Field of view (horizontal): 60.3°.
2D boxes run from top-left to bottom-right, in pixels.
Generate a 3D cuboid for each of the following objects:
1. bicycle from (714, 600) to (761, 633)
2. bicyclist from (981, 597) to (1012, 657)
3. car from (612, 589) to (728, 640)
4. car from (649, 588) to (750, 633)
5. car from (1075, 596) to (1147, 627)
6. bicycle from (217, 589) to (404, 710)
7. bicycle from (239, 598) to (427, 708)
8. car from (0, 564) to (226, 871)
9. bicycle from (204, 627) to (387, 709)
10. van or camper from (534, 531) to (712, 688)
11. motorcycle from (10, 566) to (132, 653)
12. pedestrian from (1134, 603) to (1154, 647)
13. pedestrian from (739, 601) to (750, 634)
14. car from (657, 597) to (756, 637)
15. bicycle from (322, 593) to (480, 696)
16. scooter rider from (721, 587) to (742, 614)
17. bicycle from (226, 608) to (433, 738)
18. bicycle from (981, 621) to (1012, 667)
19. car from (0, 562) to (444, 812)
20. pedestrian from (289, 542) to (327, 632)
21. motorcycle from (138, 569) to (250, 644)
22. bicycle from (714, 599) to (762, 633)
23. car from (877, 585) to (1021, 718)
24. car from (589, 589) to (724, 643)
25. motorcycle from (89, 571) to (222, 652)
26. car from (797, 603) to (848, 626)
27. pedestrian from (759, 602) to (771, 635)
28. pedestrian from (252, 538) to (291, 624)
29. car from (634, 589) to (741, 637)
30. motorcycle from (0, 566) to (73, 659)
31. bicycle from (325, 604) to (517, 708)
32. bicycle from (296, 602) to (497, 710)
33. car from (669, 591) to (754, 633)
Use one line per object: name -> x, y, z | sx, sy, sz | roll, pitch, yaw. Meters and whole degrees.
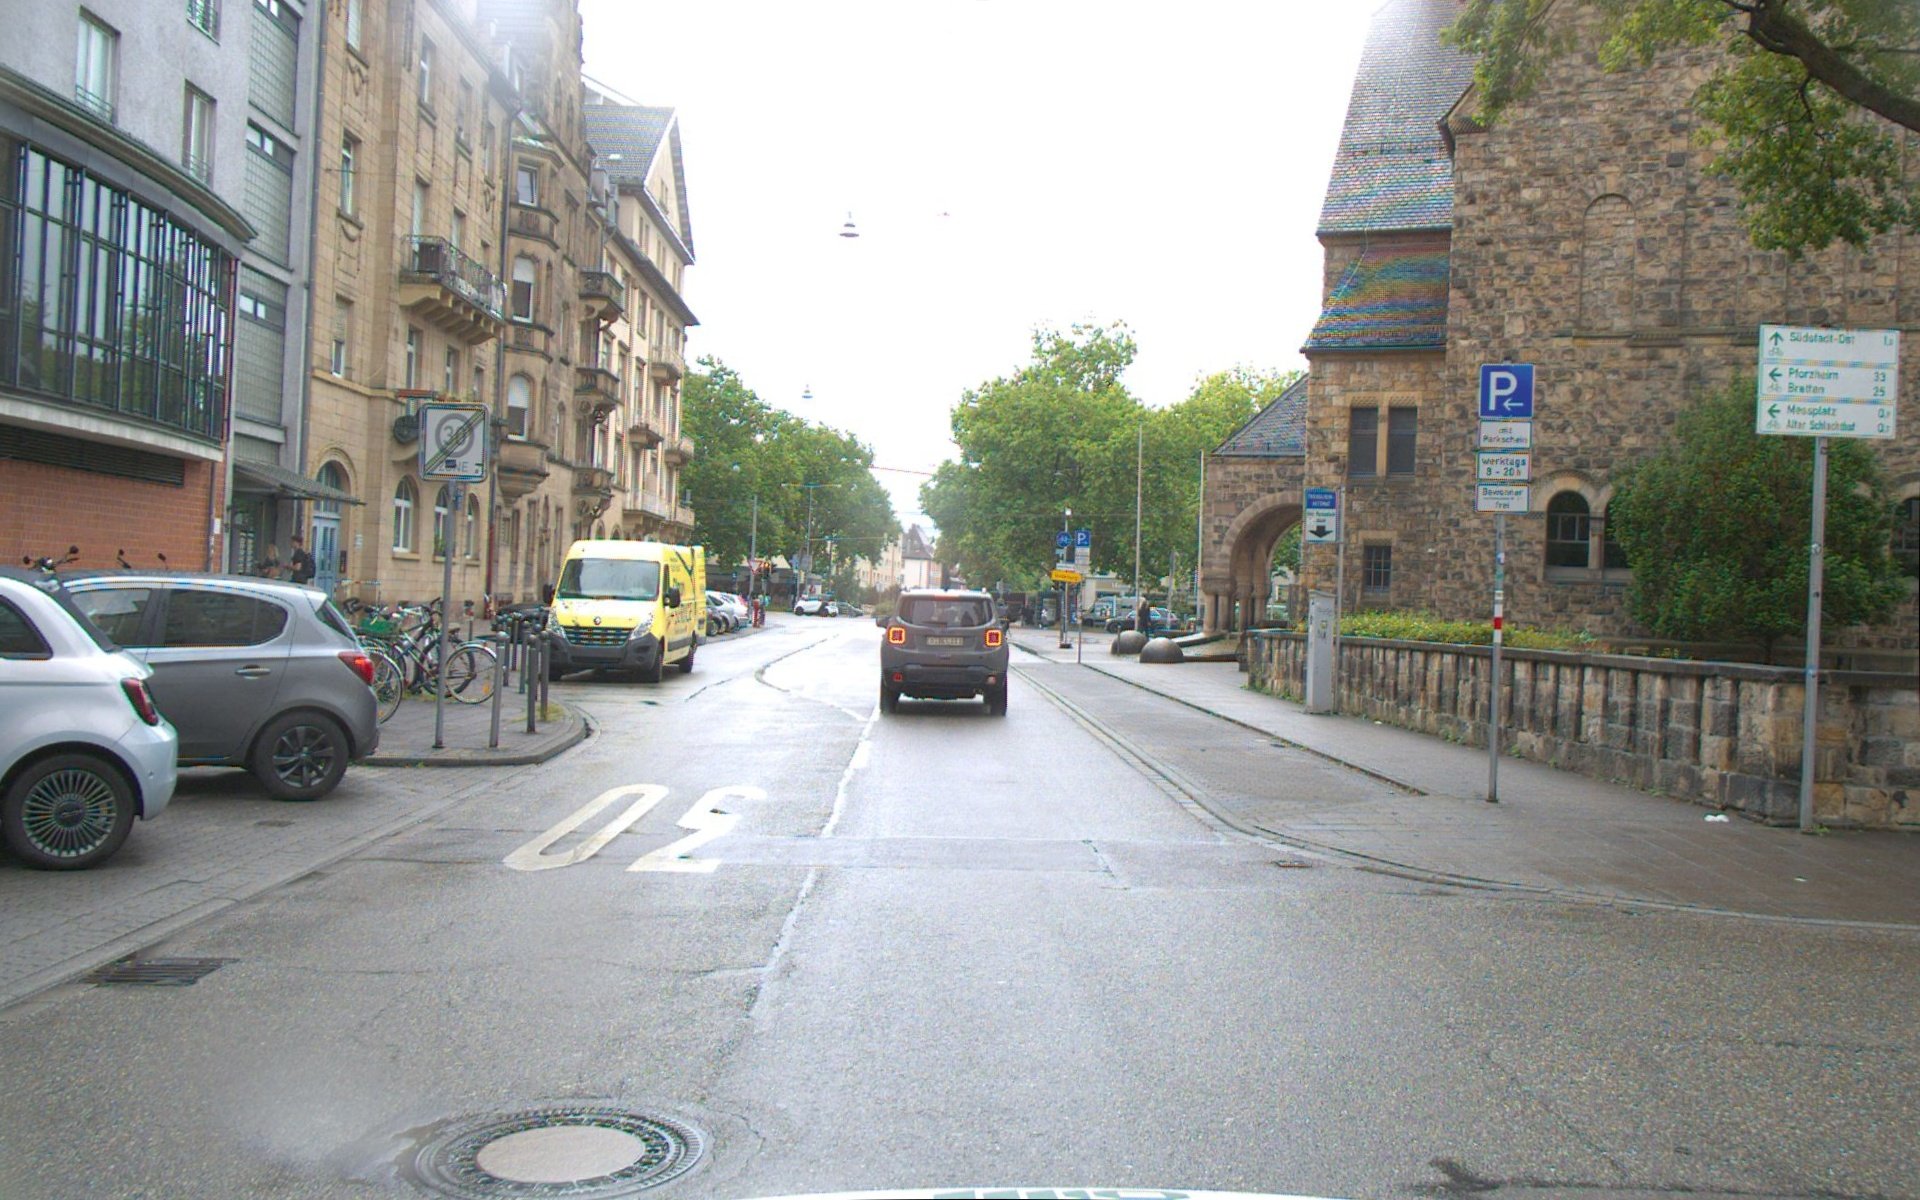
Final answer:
bicycle -> -10.162, 0.757, 75.577 | 2.063, 1.469, 0.487 | 2, -1, -22
bicyclist -> 0.903, 0.662, 40.776 | 0.690, 1.428, 1.171 | 1, 0, -1
car -> -10.296, 0.521, 58.850 | 3.627, 1.586, 1.784 | 4, -1, -38
car -> -10.665, 0.431, 67.775 | 3.698, 1.586, 1.652 | 4, -1, -35
car -> 12.518, 0.965, 137.426 | 5.781, 2.375, 2.060 | 1, 0, 2
bicycle -> -7.121, 0.538, 18.176 | 1.765, 1.187, 0.568 | 4, -1, 3
bicycle -> -7.110, 0.597, 18.798 | 1.875, 1.116, 0.506 | 4, -1, -1
car -> -5.786, 0.541, 8.622 | 3.342, 1.534, 1.663 | 3, -1, -32
bicycle -> -7.051, 0.720, 17.585 | 1.687, 0.744, 0.506 | 4, 0, -1
van or camper -> -6.150, 0.289, 31.062 | 2.078, 2.575, 6.871 | -1, -2, -2
motorcycle -> -13.216, 0.136, 24.664 | 0.739, 1.194, 2.113 | 5, 0, -5
pedestrian -> 7.397, 1.010, 66.653 | 0.677, 1.741, 0.684 | 1, 0, -1
pedestrian -> -10.816, 0.872, 83.000 | 0.458, 1.613, 0.659 | 2, -1, -2
car -> -9.986, 0.659, 65.170 | 3.384, 1.339, 1.758 | 4, -1, -35
bicycle -> -7.330, 0.597, 21.739 | 1.793, 1.234, 0.623 | 5, -3, -37
scooter rider -> -11.128, 0.010, 80.665 | 0.862, 1.241, 0.983 | 2, -2, -1
bicycle -> -5.961, 0.687, 15.699 | 1.689, 1.116, 0.506 | 4, -1, -7
bicycle -> 0.890, 1.078, 40.772 | 0.690, 1.072, 1.812 | 1, 0, -1
car -> -5.747, 0.555, 11.408 | 3.781, 1.534, 1.967 | 3, -1, -32
pedestrian -> -13.311, -0.260, 33.755 | 0.652, 1.788, 0.790 | 2, -1, -25
motorcycle -> -13.211, 0.126, 28.584 | 0.560, 1.194, 1.780 | 4, -1, 21
bicycle -> -10.000, 0.724, 74.590 | 2.080, 1.469, 0.536 | 2, -1, -22
car -> -0.240, 0.694, 24.108 | 1.861, 1.700, 4.503 | 2, -1, -2
car -> -9.742, 0.526, 53.194 | 3.821, 1.505, 1.857 | 4, -2, -43
motorcycle -> -12.998, 0.199, 26.793 | 0.737, 1.194, 2.117 | 4, -1, 11
car -> -9.377, 0.980, 112.826 | 3.120, 1.527, 1.543 | 1, 0, 16
pedestrian -> -9.865, 0.939, 83.636 | 0.458, 1.613, 0.752 | 2, -1, -2
pedestrian -> -13.928, -0.373, 33.461 | 0.652, 1.704, 0.790 | 2, -1, -25
car -> -10.219, 0.496, 62.052 | 3.467, 1.544, 1.863 | 4, -1, -35
motorcycle -> -13.051, 0.155, 22.516 | 0.738, 1.194, 2.115 | 5, -1, -1
bicycle -> -6.576, 0.678, 20.235 | 2.074, 1.116, 0.594 | 4, -1, -1
bicycle -> -6.594, 0.653, 19.409 | 2.089, 1.116, 0.594 | 4, -1, -1
car -> -10.668, 0.514, 71.079 | 3.218, 1.586, 1.516 | 4, -1, -35
